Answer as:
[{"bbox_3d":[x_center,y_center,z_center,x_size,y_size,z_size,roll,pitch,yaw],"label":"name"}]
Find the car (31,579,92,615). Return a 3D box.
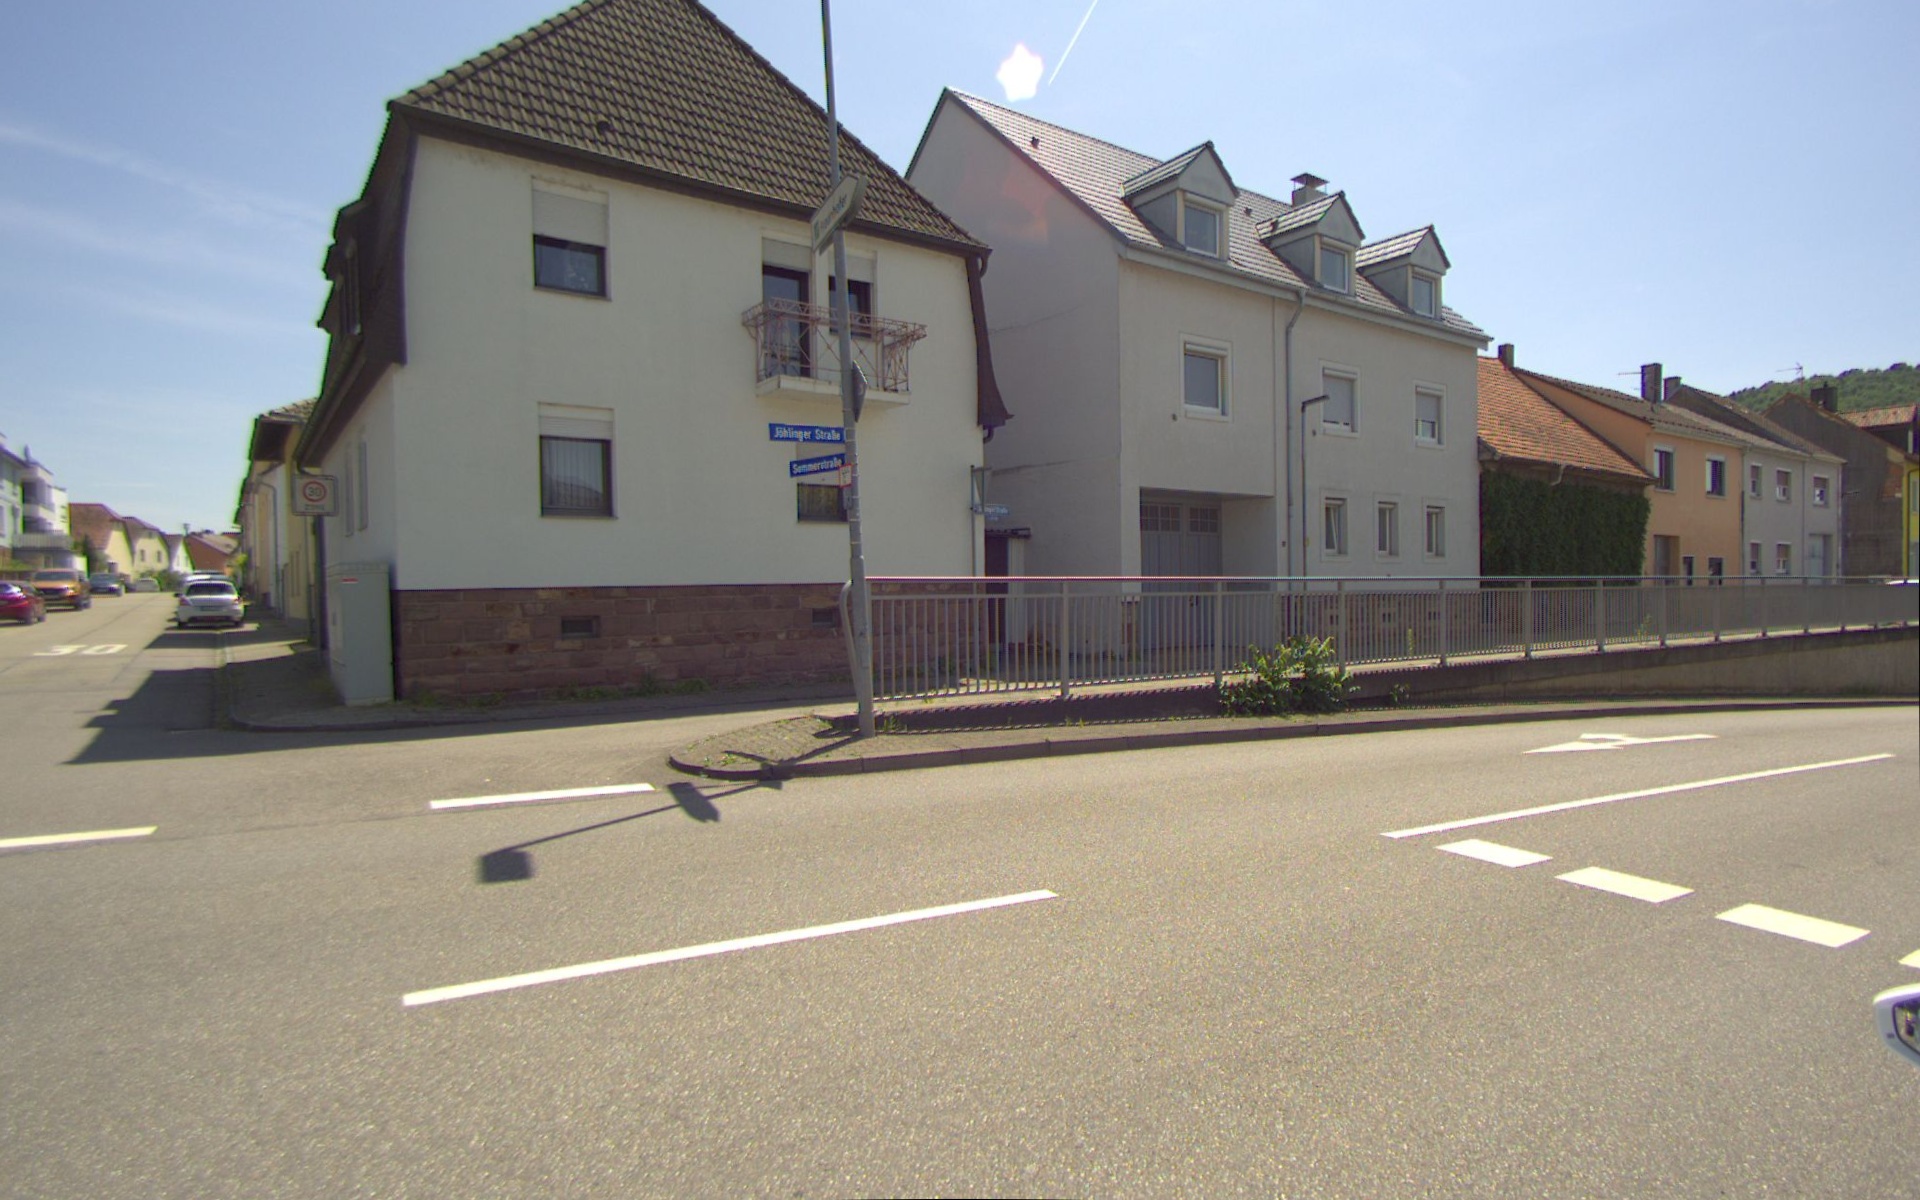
[{"bbox_3d":[-39.026,-0.134,43.707,1.599,1.507,3.389,0,1,-36],"label":"car"}]

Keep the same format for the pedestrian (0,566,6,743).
[{"bbox_3d":[-8.973,0.563,8.733,0.848,1.752,0.722,2,1,-36],"label":"pedestrian"}]

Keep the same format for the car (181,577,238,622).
[{"bbox_3d":[-28.564,-0.039,38.292,1.641,1.596,3.635,0,1,-36],"label":"car"}]

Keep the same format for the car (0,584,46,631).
[{"bbox_3d":[-32.374,0.219,34.099,1.599,1.507,3.389,0,1,-36],"label":"car"}]

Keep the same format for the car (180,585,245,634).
[{"bbox_3d":[-24.451,0.278,32.920,1.641,1.507,3.148,0,1,-36],"label":"car"}]

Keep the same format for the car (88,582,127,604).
[{"bbox_3d":[-53.518,-0.472,63.114,1.599,1.324,3.321,0,1,-36],"label":"car"}]

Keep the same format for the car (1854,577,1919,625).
[{"bbox_3d":[31.554,0.002,33.284,4.263,1.482,1.802,-1,2,-33],"label":"car"}]

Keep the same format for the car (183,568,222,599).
[{"bbox_3d":[-43.653,-0.950,57.962,1.690,1.743,3.635,0,1,-36],"label":"car"}]
